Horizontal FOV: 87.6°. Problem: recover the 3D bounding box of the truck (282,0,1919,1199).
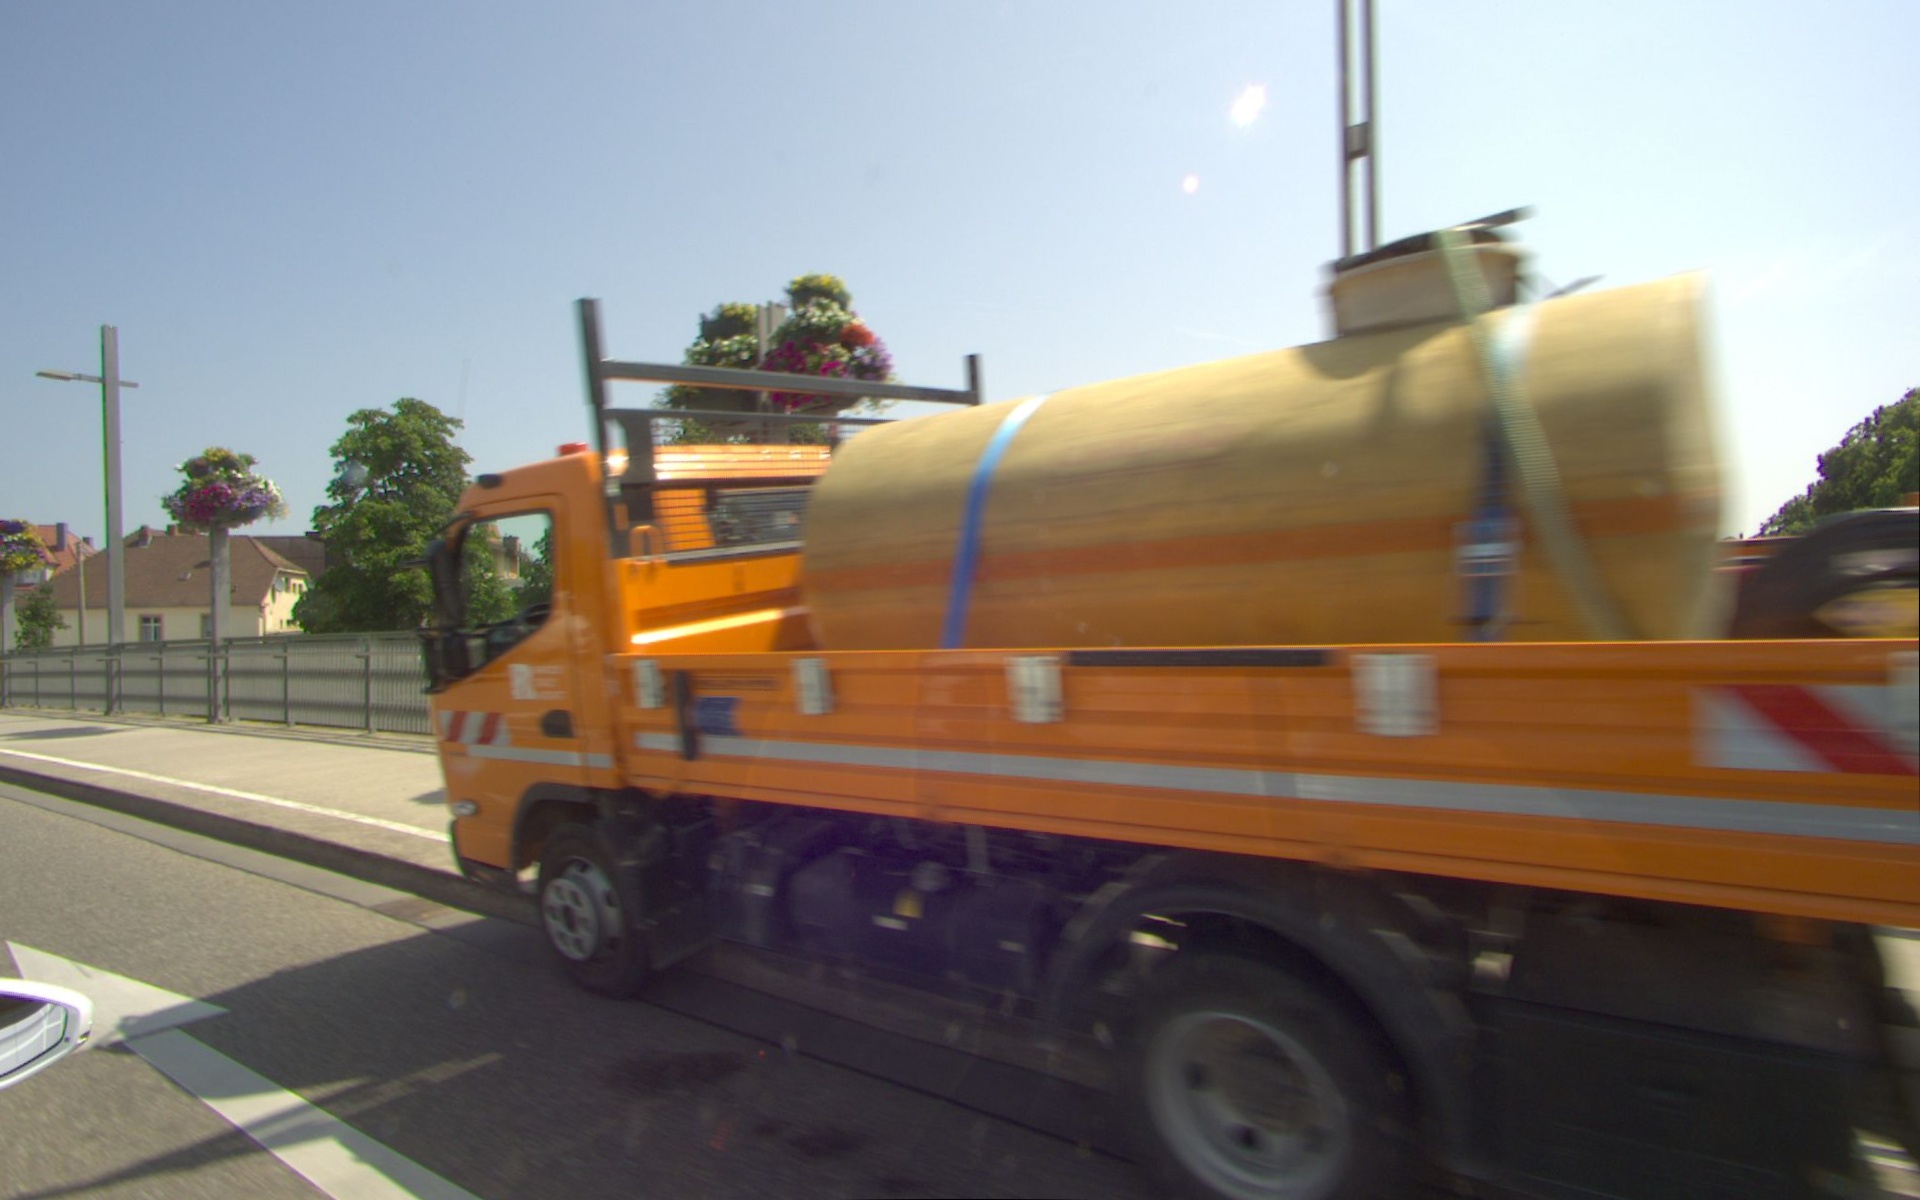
[{"bbox_3d":[0.248,0.123,3.685,5.746,2.728,2.596,-1,2,36],"label":"truck"}]
